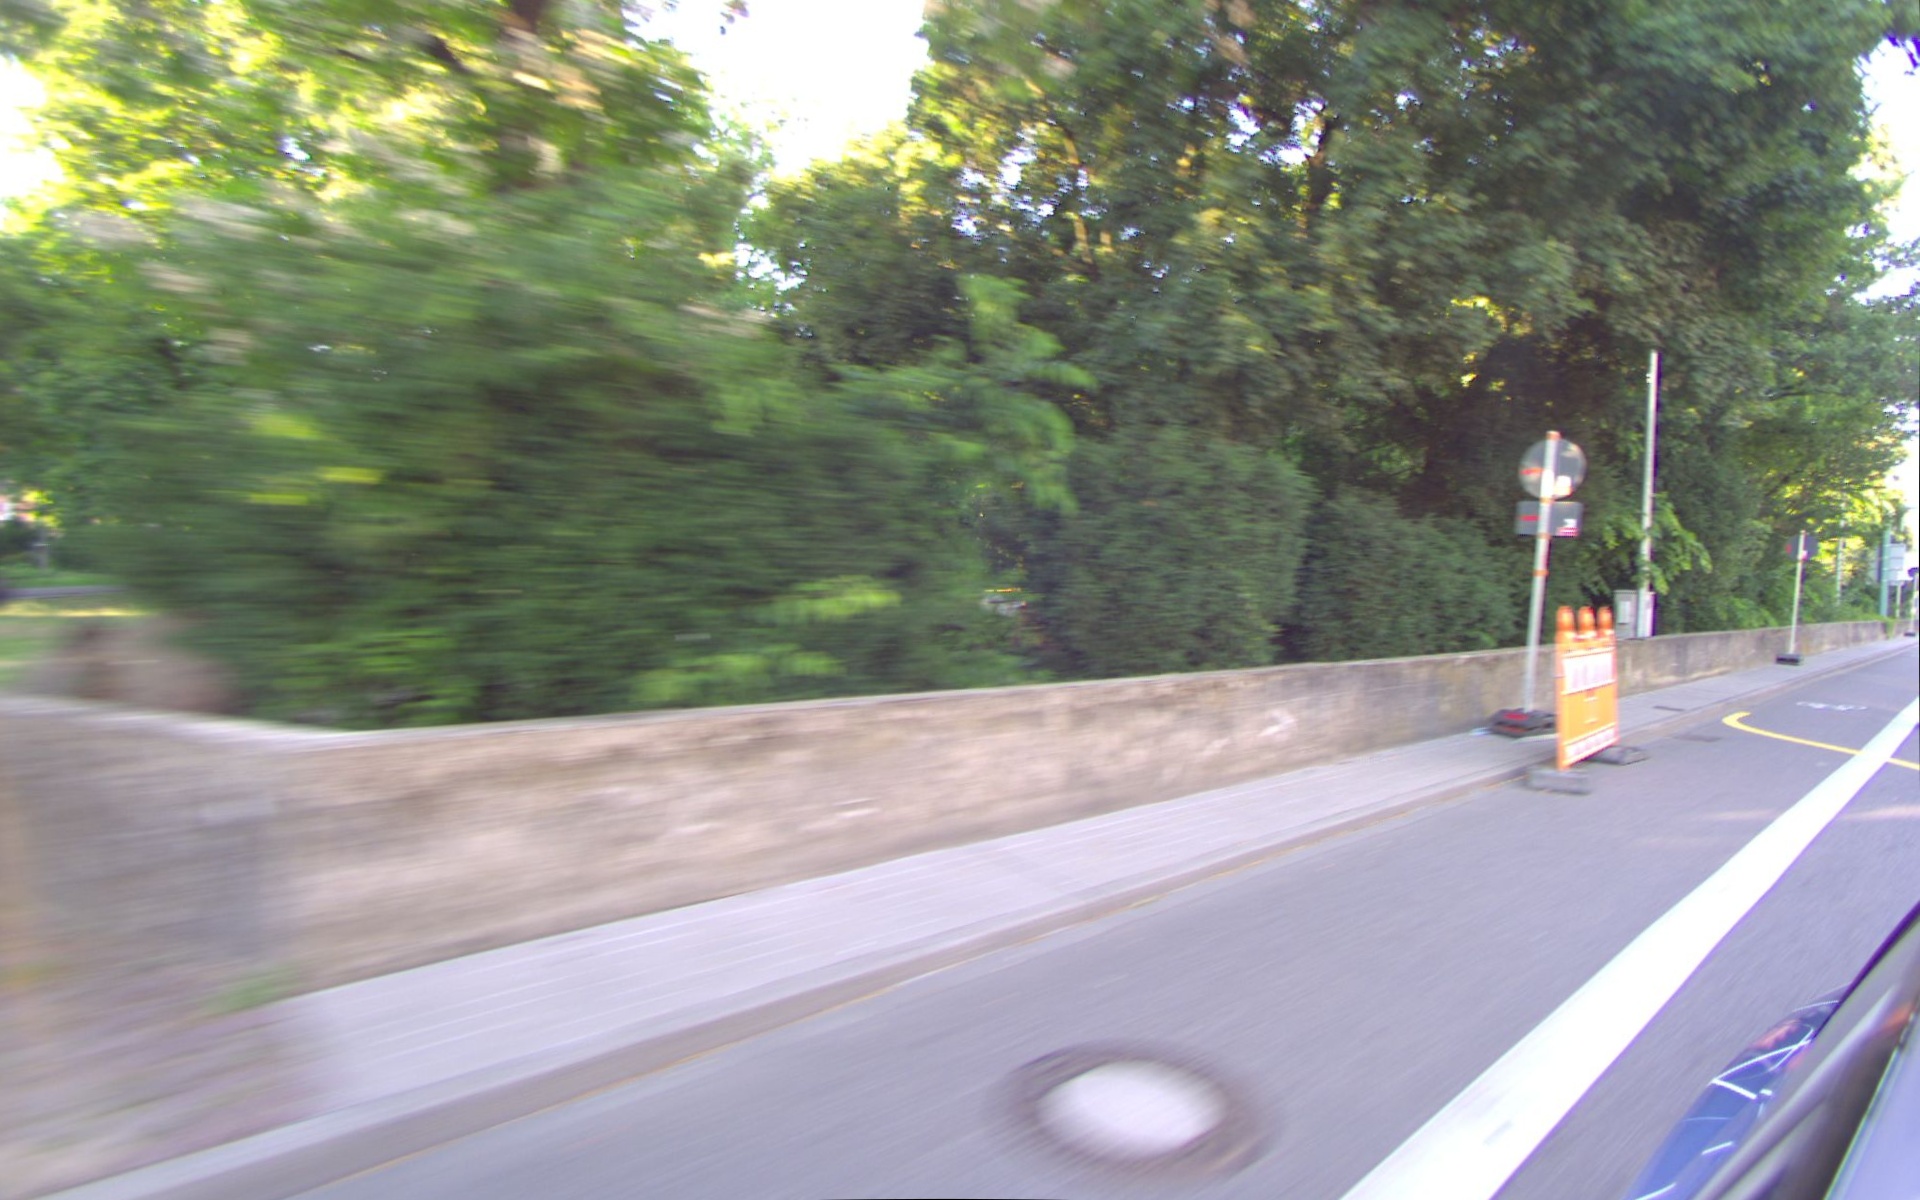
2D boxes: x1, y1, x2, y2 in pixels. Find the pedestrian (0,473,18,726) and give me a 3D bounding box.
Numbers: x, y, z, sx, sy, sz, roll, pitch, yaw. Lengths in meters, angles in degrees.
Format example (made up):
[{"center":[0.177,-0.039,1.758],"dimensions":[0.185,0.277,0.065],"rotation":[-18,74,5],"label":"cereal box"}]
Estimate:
[{"center":[-7.528,-0.015,7.408],"dimensions":[0.789,1.855,0.763],"rotation":[2,1,34],"label":"pedestrian"}]
